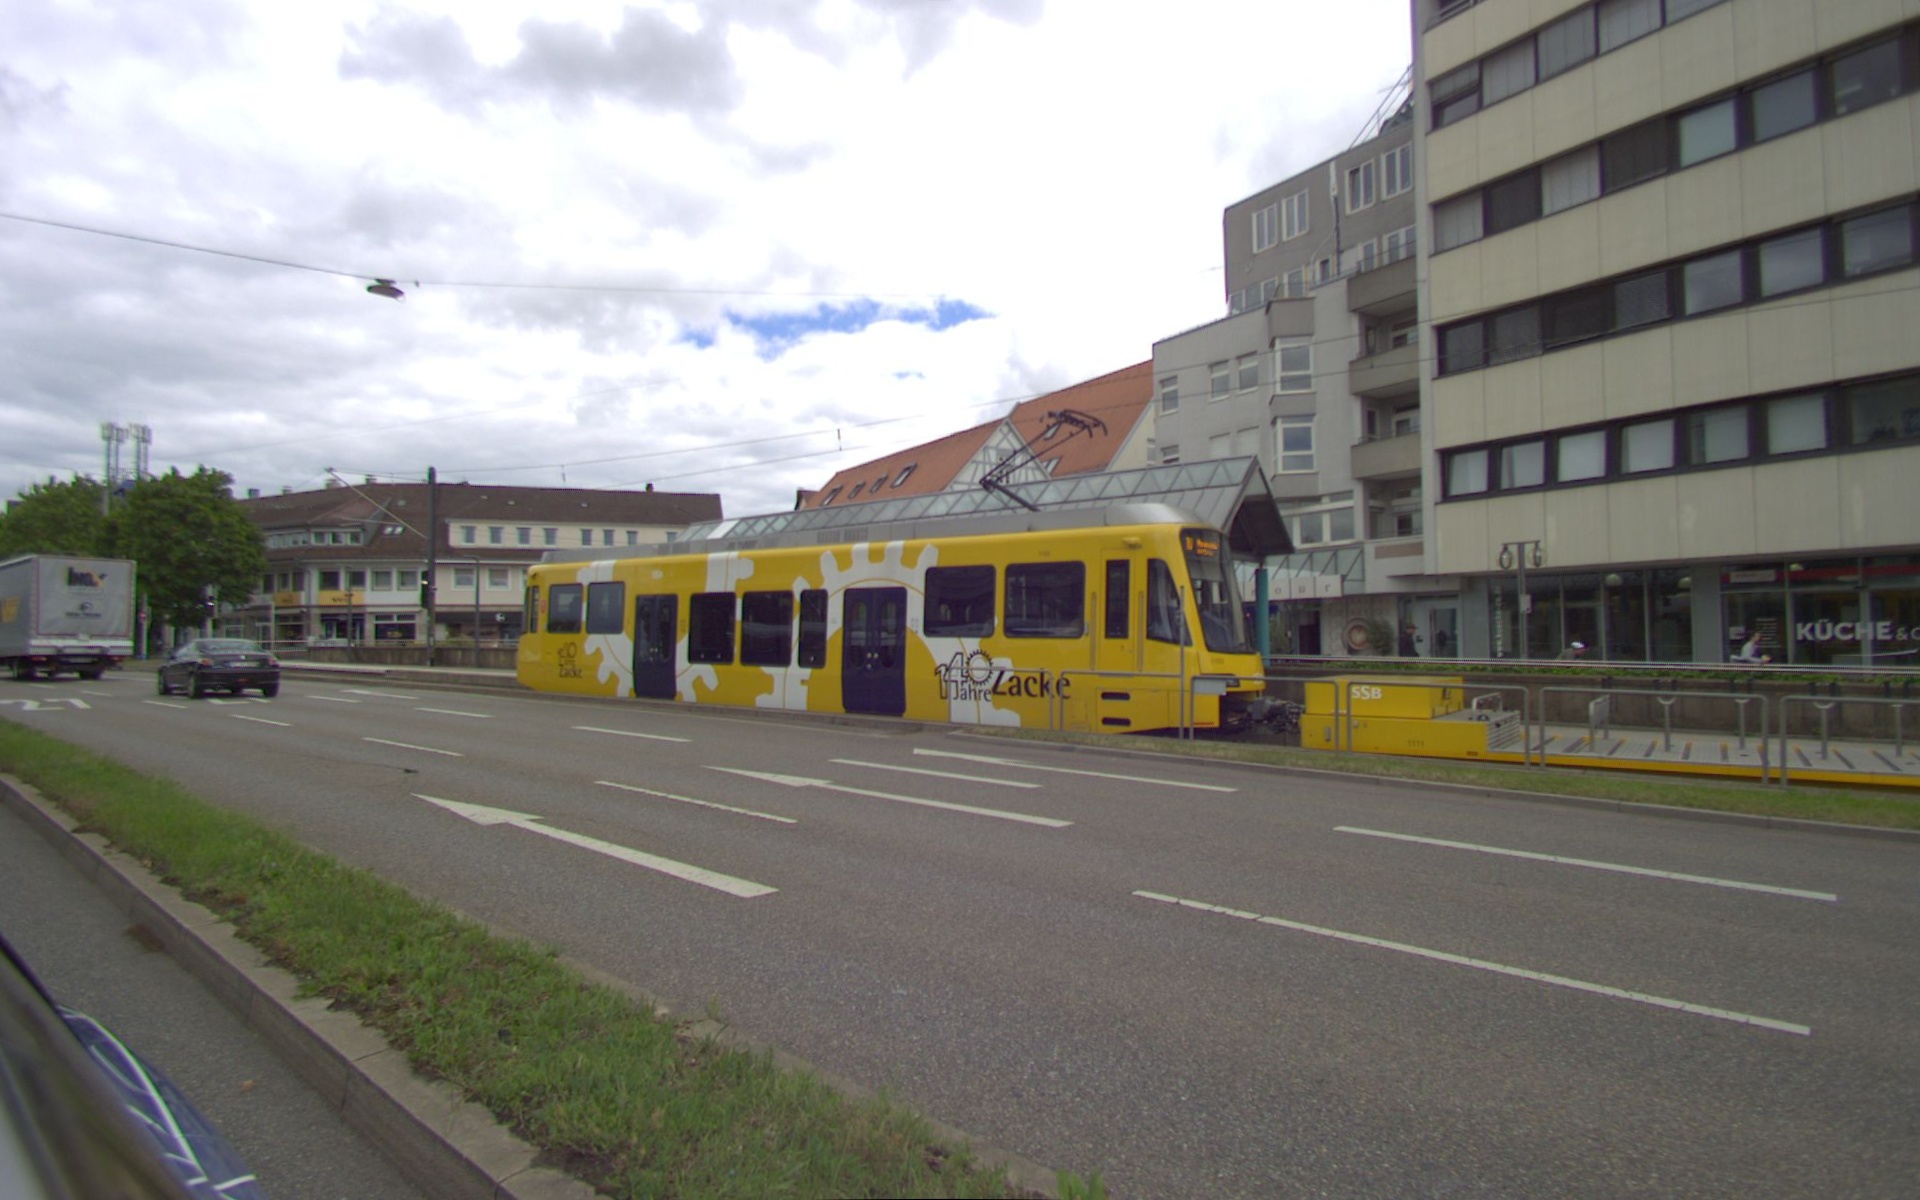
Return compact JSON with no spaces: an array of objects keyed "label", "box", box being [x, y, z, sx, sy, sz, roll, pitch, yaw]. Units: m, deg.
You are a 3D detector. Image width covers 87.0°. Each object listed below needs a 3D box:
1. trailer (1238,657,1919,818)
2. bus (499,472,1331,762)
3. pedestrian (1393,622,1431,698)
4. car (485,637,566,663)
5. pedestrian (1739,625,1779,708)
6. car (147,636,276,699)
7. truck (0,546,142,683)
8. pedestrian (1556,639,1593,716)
[{"label":"trailer","box":[9.378,1.428,11.056,12.107,1.343,2.814,-1,-2,38]},{"label":"bus","box":[-2.710,0.438,21.003,19.310,3.889,3.841,-1,-2,38]},{"label":"pedestrian","box":[10.443,1.369,23.387,0.628,1.713,0.684,-1,-3,39]},{"label":"car","box":[-26.407,3.023,61.511,4.291,1.527,1.797,1,-3,-34]},{"label":"pedestrian","box":[16.927,1.394,21.450,0.628,1.713,0.543,-1,-3,39]},{"label":"car","box":[-17.562,1.548,23.687,3.946,1.355,1.490,-2,-4,40]},{"label":"truck","box":[-30.182,0.563,33.368,9.150,3.988,2.911,-2,-2,38]},{"label":"pedestrian","box":[13.909,1.735,22.890,0.628,1.713,0.543,-1,-3,39]}]
